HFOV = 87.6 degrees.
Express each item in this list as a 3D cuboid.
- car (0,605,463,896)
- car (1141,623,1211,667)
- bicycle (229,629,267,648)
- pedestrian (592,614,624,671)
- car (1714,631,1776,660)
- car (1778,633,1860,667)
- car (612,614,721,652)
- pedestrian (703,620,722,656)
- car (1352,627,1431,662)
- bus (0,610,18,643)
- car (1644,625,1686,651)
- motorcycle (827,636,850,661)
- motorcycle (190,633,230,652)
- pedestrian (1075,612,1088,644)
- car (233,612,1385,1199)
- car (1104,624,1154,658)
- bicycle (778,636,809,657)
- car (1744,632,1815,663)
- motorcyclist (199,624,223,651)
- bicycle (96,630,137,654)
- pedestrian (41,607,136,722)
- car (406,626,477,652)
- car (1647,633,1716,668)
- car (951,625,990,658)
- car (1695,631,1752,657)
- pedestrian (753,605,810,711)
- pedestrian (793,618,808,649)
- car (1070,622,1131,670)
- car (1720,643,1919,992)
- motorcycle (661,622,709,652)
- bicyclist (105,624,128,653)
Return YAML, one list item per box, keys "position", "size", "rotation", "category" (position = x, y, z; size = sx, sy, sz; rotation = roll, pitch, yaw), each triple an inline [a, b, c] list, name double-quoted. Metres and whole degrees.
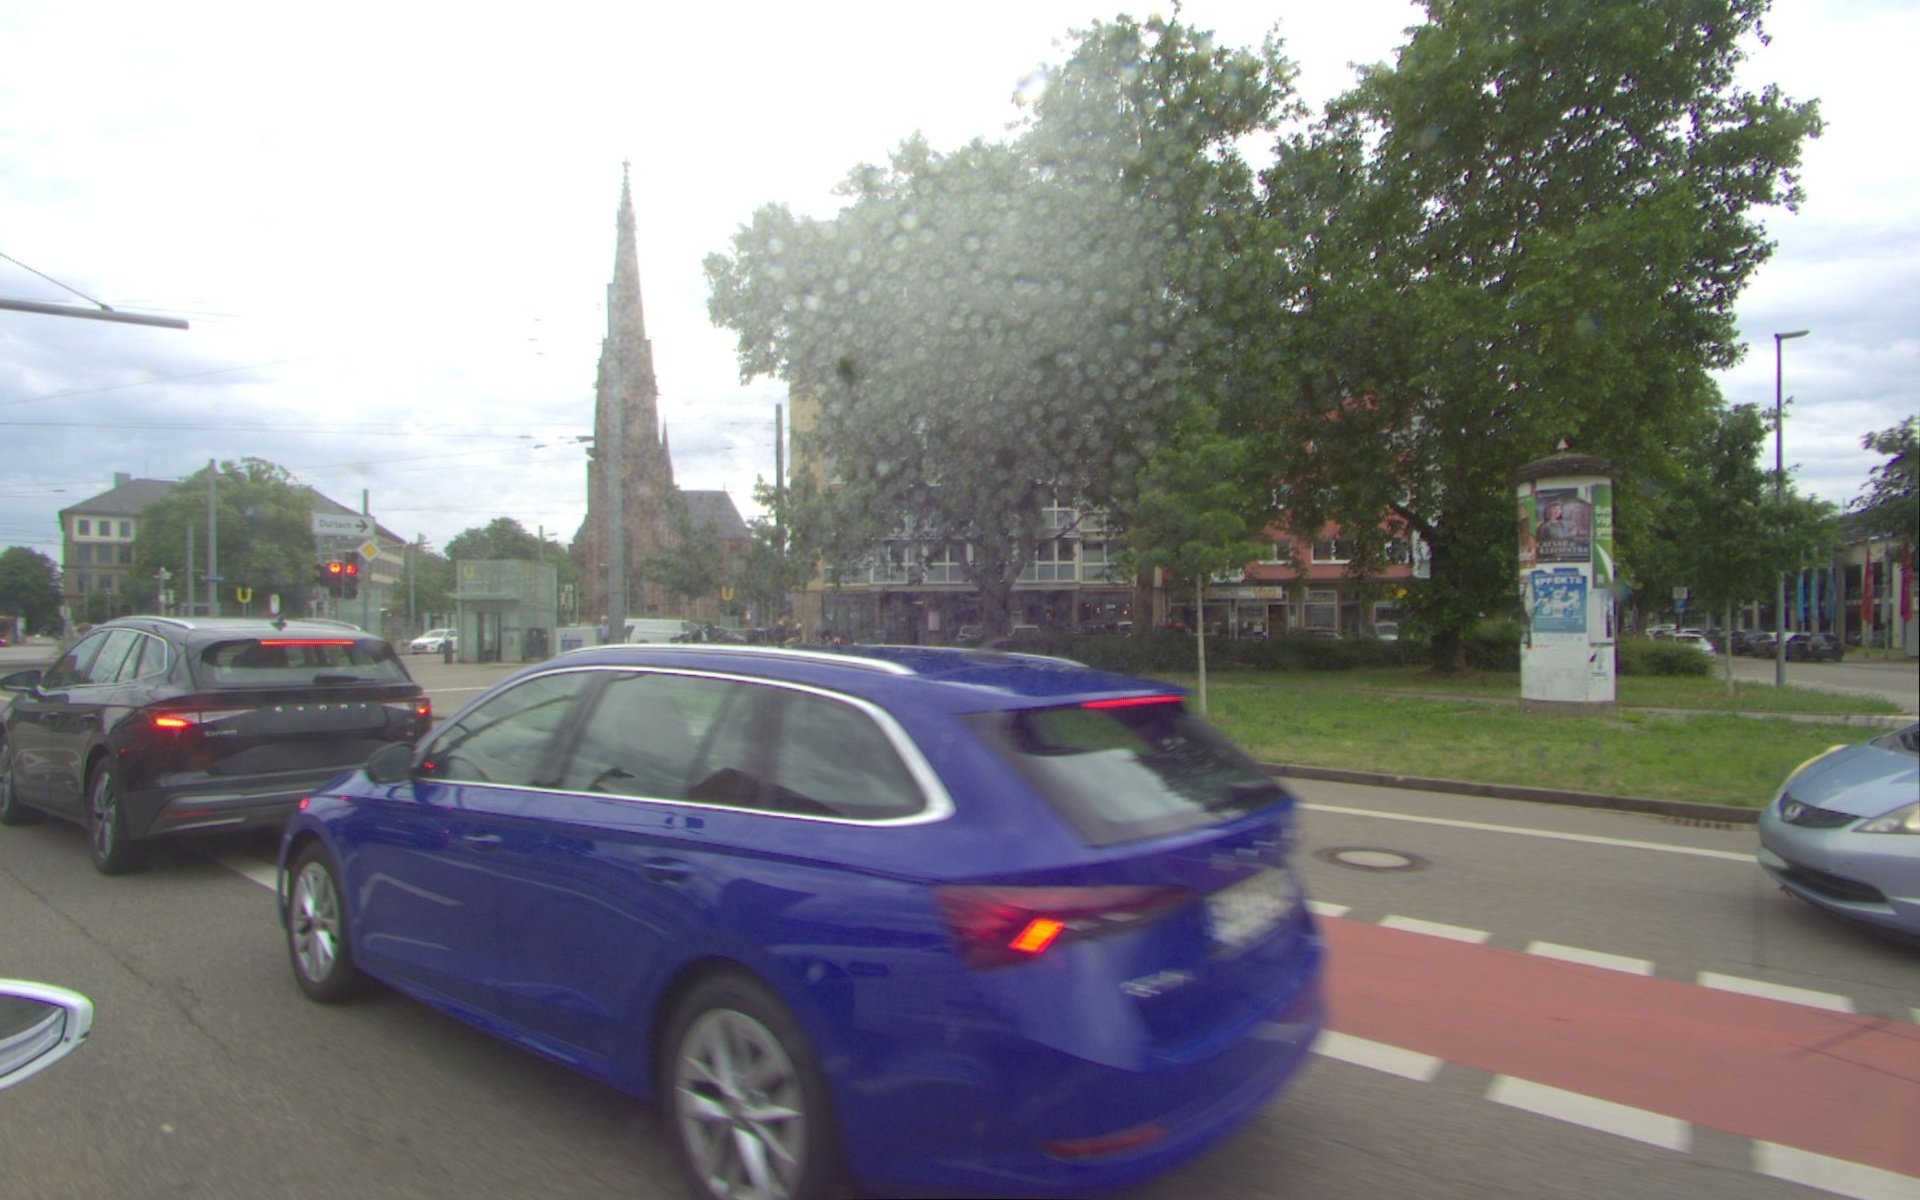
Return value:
- position: [-5.777, 0.896, 7.627]
  size: [4.452, 1.617, 1.772]
  rotation: [-1, -2, 37]
  category: "car"
- position: [8.170, 1.679, 38.264]
  size: [1.825, 1.567, 4.477]
  rotation: [0, -2, 2]
  category: "car"
- position: [-52.672, 2.843, 74.104]
  size: [0.700, 1.348, 2.248]
  rotation: [-2, -2, 44]
  category: "bicycle"
- position: [-12.216, 1.480, 34.765]
  size: [0.873, 1.955, 1.017]
  rotation: [0, -1, -11]
  category: "pedestrian"
- position: [48.938, 2.824, 62.504]
  size: [1.830, 1.644, 4.465]
  rotation: [-2, -2, 22]
  category: "car"
- position: [44.741, 2.564, 52.271]
  size: [1.830, 1.644, 4.465]
  rotation: [-2, -2, 22]
  category: "car"
- position: [-16.855, 1.899, 57.638]
  size: [5.664, 2.039, 2.015]
  rotation: [0, -2, -35]
  category: "car"
- position: [-11.608, 1.775, 46.995]
  size: [0.625, 1.659, 0.872]
  rotation: [0, -1, 4]
  category: "pedestrian"
- position: [20.150, 2.050, 46.955]
  size: [1.825, 1.567, 4.477]
  rotation: [0, -2, 1]
  category: "car"
- position: [-98.569, 2.728, 102.520]
  size: [2.634, 3.325, 10.900]
  rotation: [1, -2, -41]
  category: "bus"
- position: [58.285, 3.122, 82.868]
  size: [1.830, 2.011, 4.465]
  rotation: [-2, -2, 22]
  category: "car"
- position: [-5.115, 2.042, 42.347]
  size: [0.857, 1.010, 1.015]
  rotation: [0, -1, -1]
  category: "motorcycle"
- position: [-46.981, 2.635, 62.743]
  size: [0.730, 1.153, 2.142]
  rotation: [0, -1, 5]
  category: "motorcycle"
- position: [6.340, 1.475, 52.147]
  size: [0.625, 1.659, 0.872]
  rotation: [0, -1, 5]
  category: "pedestrian"
- position: [-0.937, 0.844, 3.801]
  size: [4.409, 1.507, 1.773]
  rotation: [-2, -2, 37]
  category: "car"
- position: [8.096, 1.962, 48.327]
  size: [1.825, 1.567, 4.477]
  rotation: [0, -2, 2]
  category: "car"
- position: [-7.228, 2.021, 43.485]
  size: [1.240, 0.929, 0.595]
  rotation: [0, -1, 7]
  category: "bicycle"
- position: [47.063, 2.696, 57.616]
  size: [1.830, 1.644, 4.465]
  rotation: [-2, -2, 22]
  category: "car"
- position: [-46.984, 2.336, 62.800]
  size: [0.735, 1.671, 0.981]
  rotation: [-1, -1, 5]
  category: "motorcyclist"
- position: [-49.441, 2.455, 58.704]
  size: [0.634, 1.339, 1.733]
  rotation: [0, -1, 20]
  category: "bicycle"
- position: [-15.179, 1.111, 17.471]
  size: [0.721, 1.931, 1.105]
  rotation: [0, -1, -5]
  category: "pedestrian"
- position: [-30.619, 2.291, 59.247]
  size: [1.741, 1.482, 4.001]
  rotation: [-1, -2, 7]
  category: "car"
- position: [35.524, 2.457, 49.422]
  size: [1.830, 1.568, 4.464]
  rotation: [1, -1, 24]
  category: "car"
- position: [0.549, 1.982, 48.483]
  size: [1.825, 1.508, 4.477]
  rotation: [0, -2, 2]
  category: "car"
- position: [51.005, 2.931, 66.964]
  size: [1.830, 1.644, 4.465]
  rotation: [-2, -2, 22]
  category: "car"
- position: [-3.207, 1.028, 18.020]
  size: [0.968, 1.868, 0.537]
  rotation: [0, 0, -6]
  category: "pedestrian"
- position: [-8.459, 1.776, 53.111]
  size: [0.625, 1.659, 0.787]
  rotation: [0, -1, 4]
  category: "pedestrian"
- position: [5.312, 1.727, 38.323]
  size: [1.825, 1.744, 4.477]
  rotation: [0, -2, 2]
  category: "car"
- position: [6.251, 0.964, 4.596]
  size: [4.024, 1.486, 1.752]
  rotation: [0, -1, 18]
  category: "car"
- position: [-11.155, 1.480, 40.719]
  size: [0.753, 1.183, 2.384]
  rotation: [0, -2, 17]
  category: "motorcycle"
- position: [-49.449, 2.251, 58.708]
  size: [0.643, 1.694, 0.855]
  rotation: [0, -1, 21]
  category: "bicyclist"
